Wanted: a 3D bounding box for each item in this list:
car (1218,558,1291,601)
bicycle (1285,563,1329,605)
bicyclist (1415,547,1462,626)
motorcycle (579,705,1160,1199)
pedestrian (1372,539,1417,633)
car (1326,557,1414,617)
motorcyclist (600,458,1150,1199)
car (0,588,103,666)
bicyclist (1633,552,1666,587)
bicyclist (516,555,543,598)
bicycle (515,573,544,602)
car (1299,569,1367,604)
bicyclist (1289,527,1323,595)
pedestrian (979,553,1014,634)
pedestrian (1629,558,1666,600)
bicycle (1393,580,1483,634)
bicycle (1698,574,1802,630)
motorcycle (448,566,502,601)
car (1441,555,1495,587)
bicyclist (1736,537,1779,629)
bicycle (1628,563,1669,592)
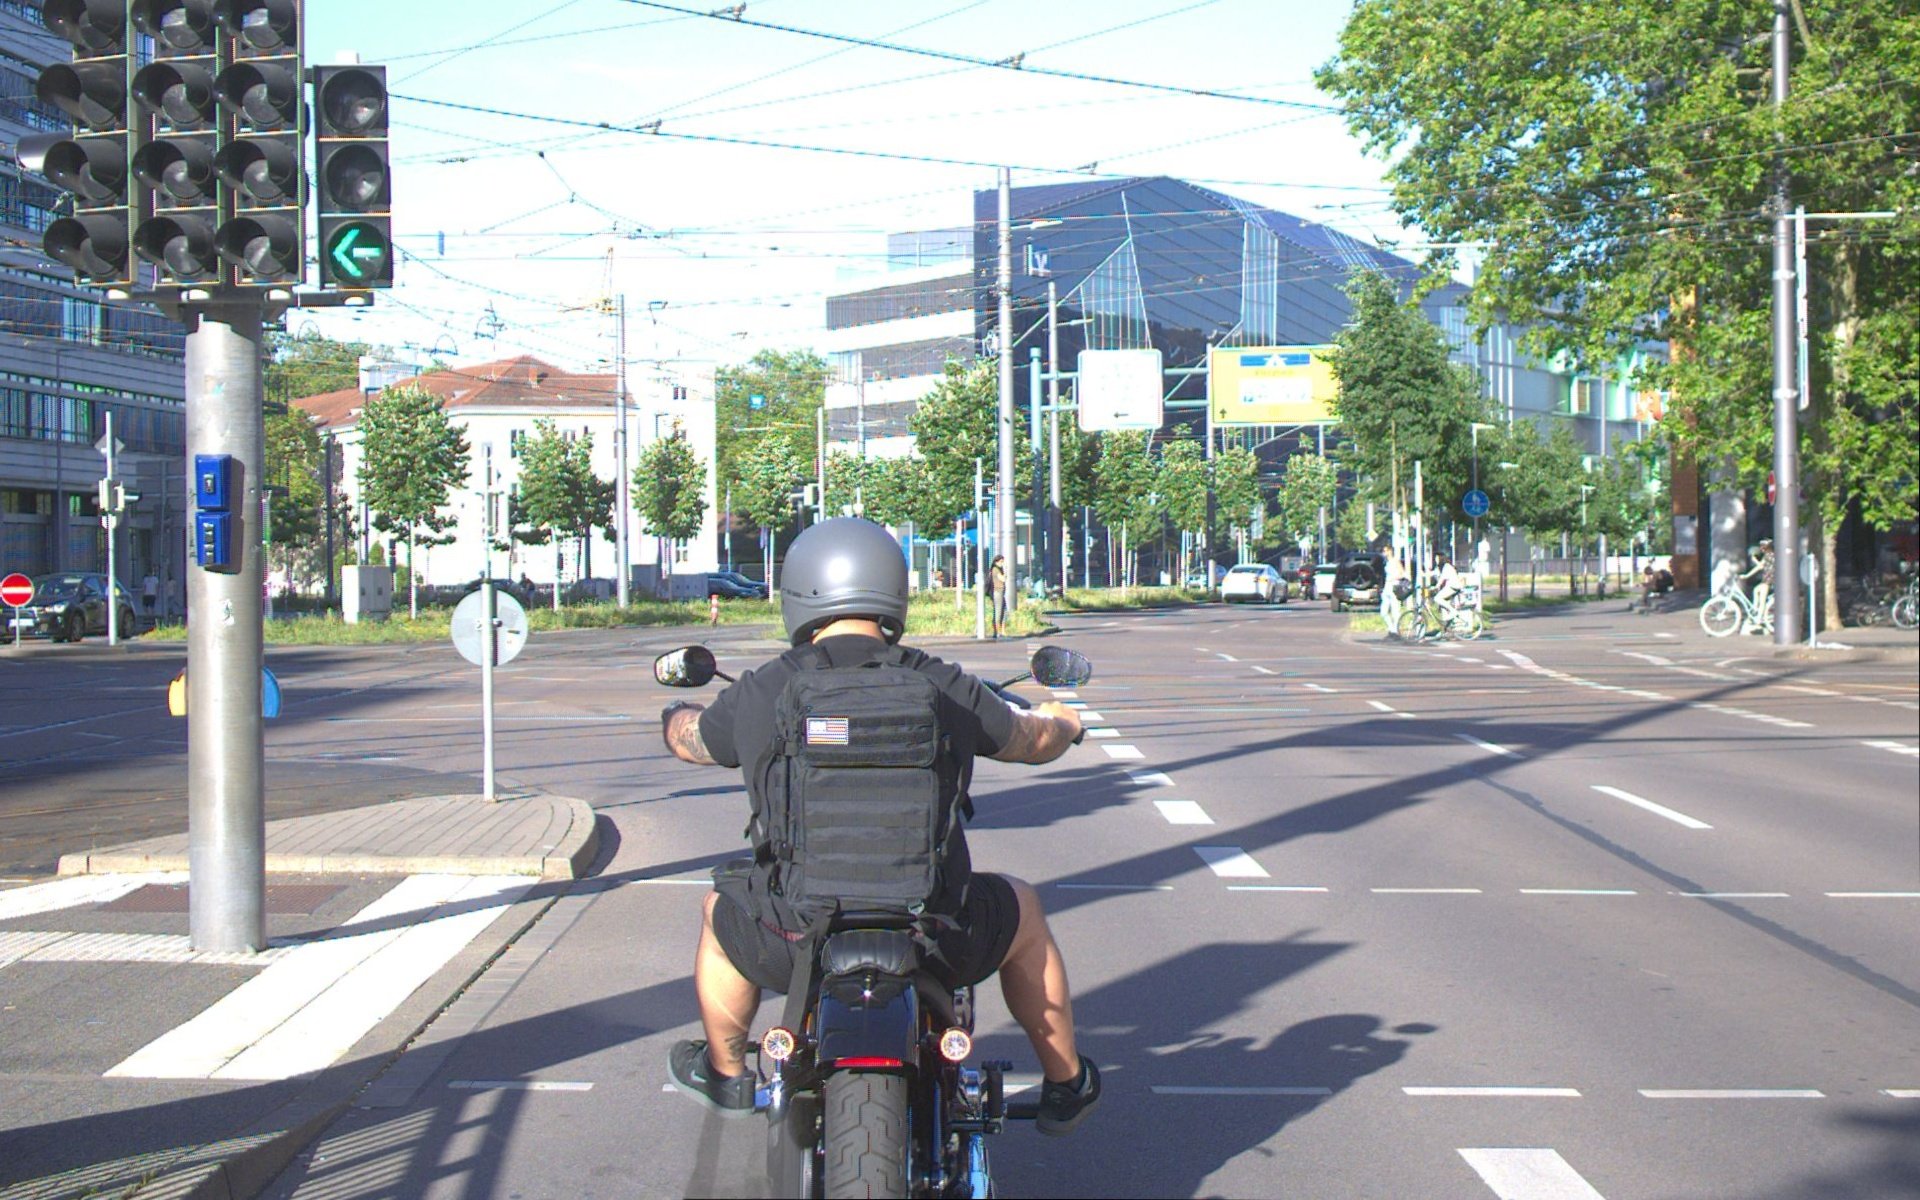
[{"bbox_3d":[10.680,-0.745,124.445,1.903,1.503,3.997,1,0,15],"label":"car"},{"bbox_3d":[13.497,-0.625,133.591,1.017,1.574,3.571,0,1,17],"label":"bicycle"},{"bbox_3d":[9.153,-0.265,65.706,0.743,1.498,0.569,-1,0,23],"label":"bicyclist"},{"bbox_3d":[-0.174,0.840,7.180,1.005,1.121,2.323,1,1,-1],"label":"motorcycle"},{"bbox_3d":[8.566,-0.272,67.791,0.701,1.830,0.514,1,0,35],"label":"pedestrian"},{"bbox_3d":[13.249,-0.408,110.888,2.055,1.867,4.223,1,0,17],"label":"car"},{"bbox_3d":[-0.169,0.502,7.144,1.022,1.547,1.286,1,1,-1],"label":"motorcyclist"},{"bbox_3d":[-19.224,0.540,71.323,1.791,1.461,4.311,-1,1,0],"label":"car"},{"bbox_3d":[27.937,-1.235,139.232,1.041,1.376,1.562,0,1,22],"label":"bicyclist"},{"bbox_3d":[-16.426,-0.896,131.208,0.764,1.661,0.993,0,1,9],"label":"bicyclist"},{"bbox_3d":[-16.428,-0.487,131.236,0.642,1.104,1.684,0,1,10],"label":"bicycle"},{"bbox_3d":[15.279,-0.563,140.604,2.017,1.371,4.035,0,1,17],"label":"car"},{"bbox_3d":[13.447,-1.515,133.564,1.017,2.615,1.470,0,1,17],"label":"bicyclist"},{"bbox_3d":[0.717,-0.136,67.410,0.657,1.577,0.489,0,1,3],"label":"pedestrian"},{"bbox_3d":[17.829,-0.545,89.149,0.785,1.053,0.813,0,1,22],"label":"pedestrian"},{"bbox_3d":[9.137,0.140,65.719,1.629,1.018,0.516,-1,0,23],"label":"bicycle"},{"bbox_3d":[14.643,0.040,63.722,1.853,1.018,0.516,-1,0,11],"label":"bicycle"},{"bbox_3d":[-17.233,-0.591,122.283,0.984,1.227,2.941,0,1,11],"label":"motorcycle"},{"bbox_3d":[24.197,-1.389,163.615,1.722,1.479,3.750,0,1,22],"label":"car"},{"bbox_3d":[14.771,-0.309,63.686,0.743,1.689,0.570,-1,0,11],"label":"bicyclist"},{"bbox_3d":[27.947,-0.923,139.557,1.041,1.129,3.177,0,1,22],"label":"bicycle"}]
